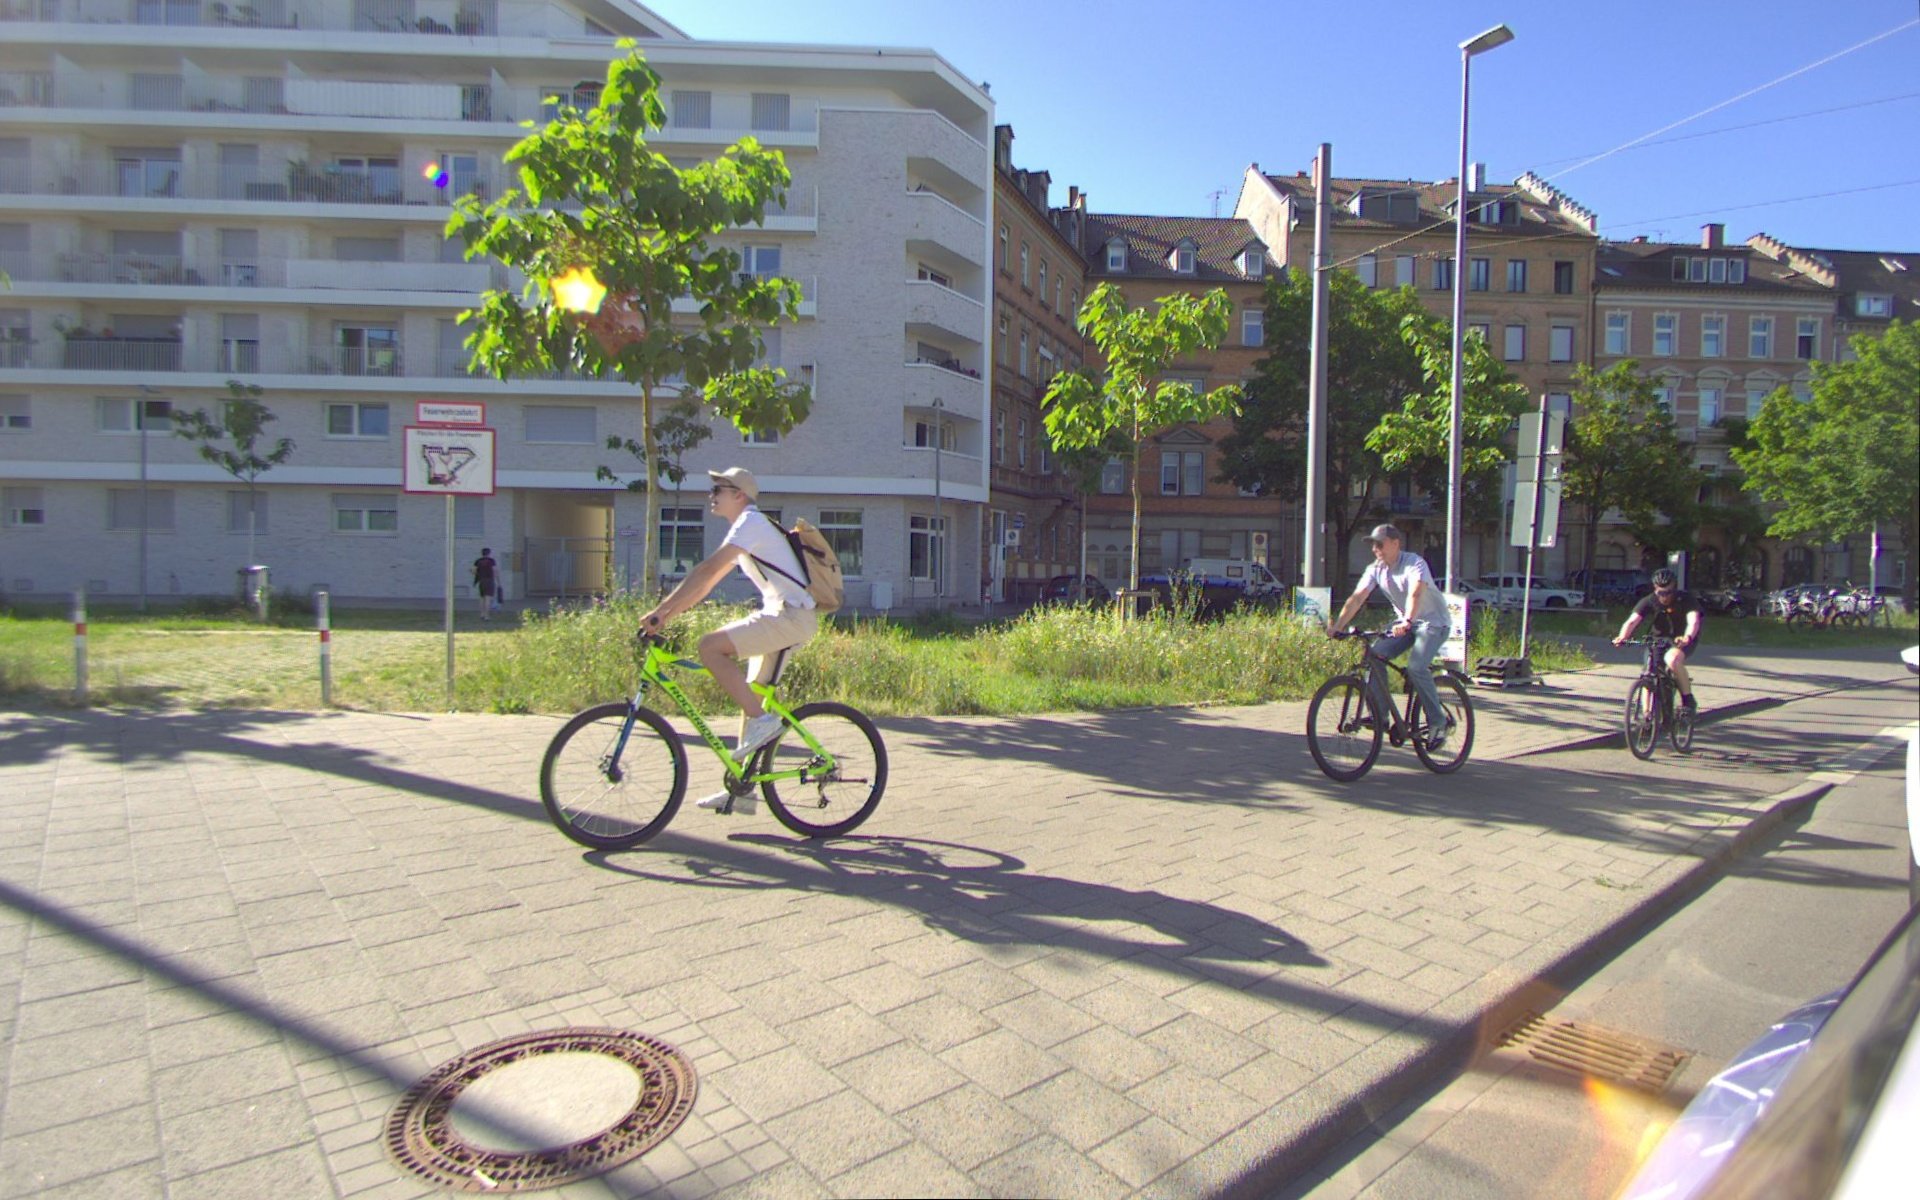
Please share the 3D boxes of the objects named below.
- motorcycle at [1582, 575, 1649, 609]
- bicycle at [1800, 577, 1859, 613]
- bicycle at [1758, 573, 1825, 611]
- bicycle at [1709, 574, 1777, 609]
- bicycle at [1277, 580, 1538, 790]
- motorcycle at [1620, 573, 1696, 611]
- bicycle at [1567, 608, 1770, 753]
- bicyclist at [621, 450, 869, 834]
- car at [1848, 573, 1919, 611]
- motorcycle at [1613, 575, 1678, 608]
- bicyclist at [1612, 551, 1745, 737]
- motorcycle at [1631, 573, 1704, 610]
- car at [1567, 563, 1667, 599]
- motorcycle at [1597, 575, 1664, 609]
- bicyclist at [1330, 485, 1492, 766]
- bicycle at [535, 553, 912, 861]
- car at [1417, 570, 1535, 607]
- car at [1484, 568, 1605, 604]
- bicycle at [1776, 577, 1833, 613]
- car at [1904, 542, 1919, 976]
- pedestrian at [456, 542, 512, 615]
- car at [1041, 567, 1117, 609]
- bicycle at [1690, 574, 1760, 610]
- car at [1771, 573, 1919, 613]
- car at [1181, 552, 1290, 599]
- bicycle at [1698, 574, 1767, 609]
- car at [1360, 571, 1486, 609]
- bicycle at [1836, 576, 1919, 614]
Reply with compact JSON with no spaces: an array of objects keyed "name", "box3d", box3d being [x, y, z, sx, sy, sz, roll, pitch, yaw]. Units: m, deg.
[{"name":"motorcycle","box3d":[26.024,-0.323,40.223,0.649,1.293,2.324,0,0,-18]},{"name":"bicycle","box3d":[32.032,-0.187,37.331,0.653,1.284,2.196,0,0,12]},{"name":"bicycle","box3d":[29.271,-0.286,35.671,0.651,1.284,2.202,0,0,4]},{"name":"bicycle","box3d":[29.721,-0.320,38.460,0.649,1.284,2.208,0,0,-9]},{"name":"bicycle","box3d":[3.287,0.523,7.348,2.114,1.317,0.759,-1,2,-36]},{"name":"motorcycle","box3d":[25.336,-0.301,36.777,0.650,1.347,2.207,0,0,-28]},{"name":"bicycle","box3d":[6.608,0.693,9.409,2.110,1.212,0.639,0,1,-28]},{"name":"bicyclist","box3d":[-1.109,0.186,5.139,1.071,1.747,0.718,1,2,-24]},{"name":"car","box3d":[37.819,-0.322,39.959,1.649,1.423,3.832,-1,3,-32]},{"name":"motorcycle","box3d":[27.485,-0.329,40.608,0.649,1.284,2.209,0,0,-18]},{"name":"bicyclist","box3d":[6.702,0.381,9.445,0.952,1.649,0.632,0,1,-29]},{"name":"motorcycle","box3d":[26.151,-0.315,37.466,0.649,1.339,2.208,0,0,-23]},{"name":"car","box3d":[30.873,-0.915,47.647,3.631,1.607,1.552,1,2,0]},{"name":"motorcycle","box3d":[26.694,-0.331,40.354,0.649,1.300,2.324,0,0,-18]},{"name":"bicyclist","box3d":[3.262,0.154,7.351,0.735,1.889,0.810,-1,2,-35]},{"name":"bicycle","box3d":[-1.192,0.470,5.101,1.712,1.343,0.718,1,2,-24]},{"name":"car","box3d":[19.669,-0.463,38.715,1.648,1.267,3.709,0,3,-28]},{"name":"car","box3d":[22.326,-0.573,38.771,1.513,1.267,3.700,-1,3,-39]},{"name":"bicycle","box3d":[30.938,-0.179,37.108,0.653,1.284,2.196,0,0,12]},{"name":"car","box3d":[5.866,0.611,4.713,4.323,1.667,1.840,0,0,-43]},{"name":"pedestrian","box3d":[-11.523,-0.530,24.535,0.829,1.717,0.985,2,2,2]},{"name":"car","box3d":[4.564,-0.502,38.295,1.811,1.444,4.359,1,2,21]},{"name":"bicycle","box3d":[28.367,-0.304,37.562,0.649,1.284,2.208,0,0,-11]},{"name":"car","box3d":[34.683,-0.314,39.589,1.651,1.423,4.324,-1,3,-38]},{"name":"car","box3d":[12.658,-1.150,46.780,4.416,2.062,2.054,1,2,0]},{"name":"bicycle","box3d":[29.078,-0.314,38.149,0.649,1.284,2.208,0,0,-9]},{"name":"car","box3d":[17.346,-0.417,38.105,1.648,1.267,4.170,0,3,-28]},{"name":"bicycle","box3d":[31.627,-0.160,34.760,2.180,1.284,0.657,0,0,25]}]
